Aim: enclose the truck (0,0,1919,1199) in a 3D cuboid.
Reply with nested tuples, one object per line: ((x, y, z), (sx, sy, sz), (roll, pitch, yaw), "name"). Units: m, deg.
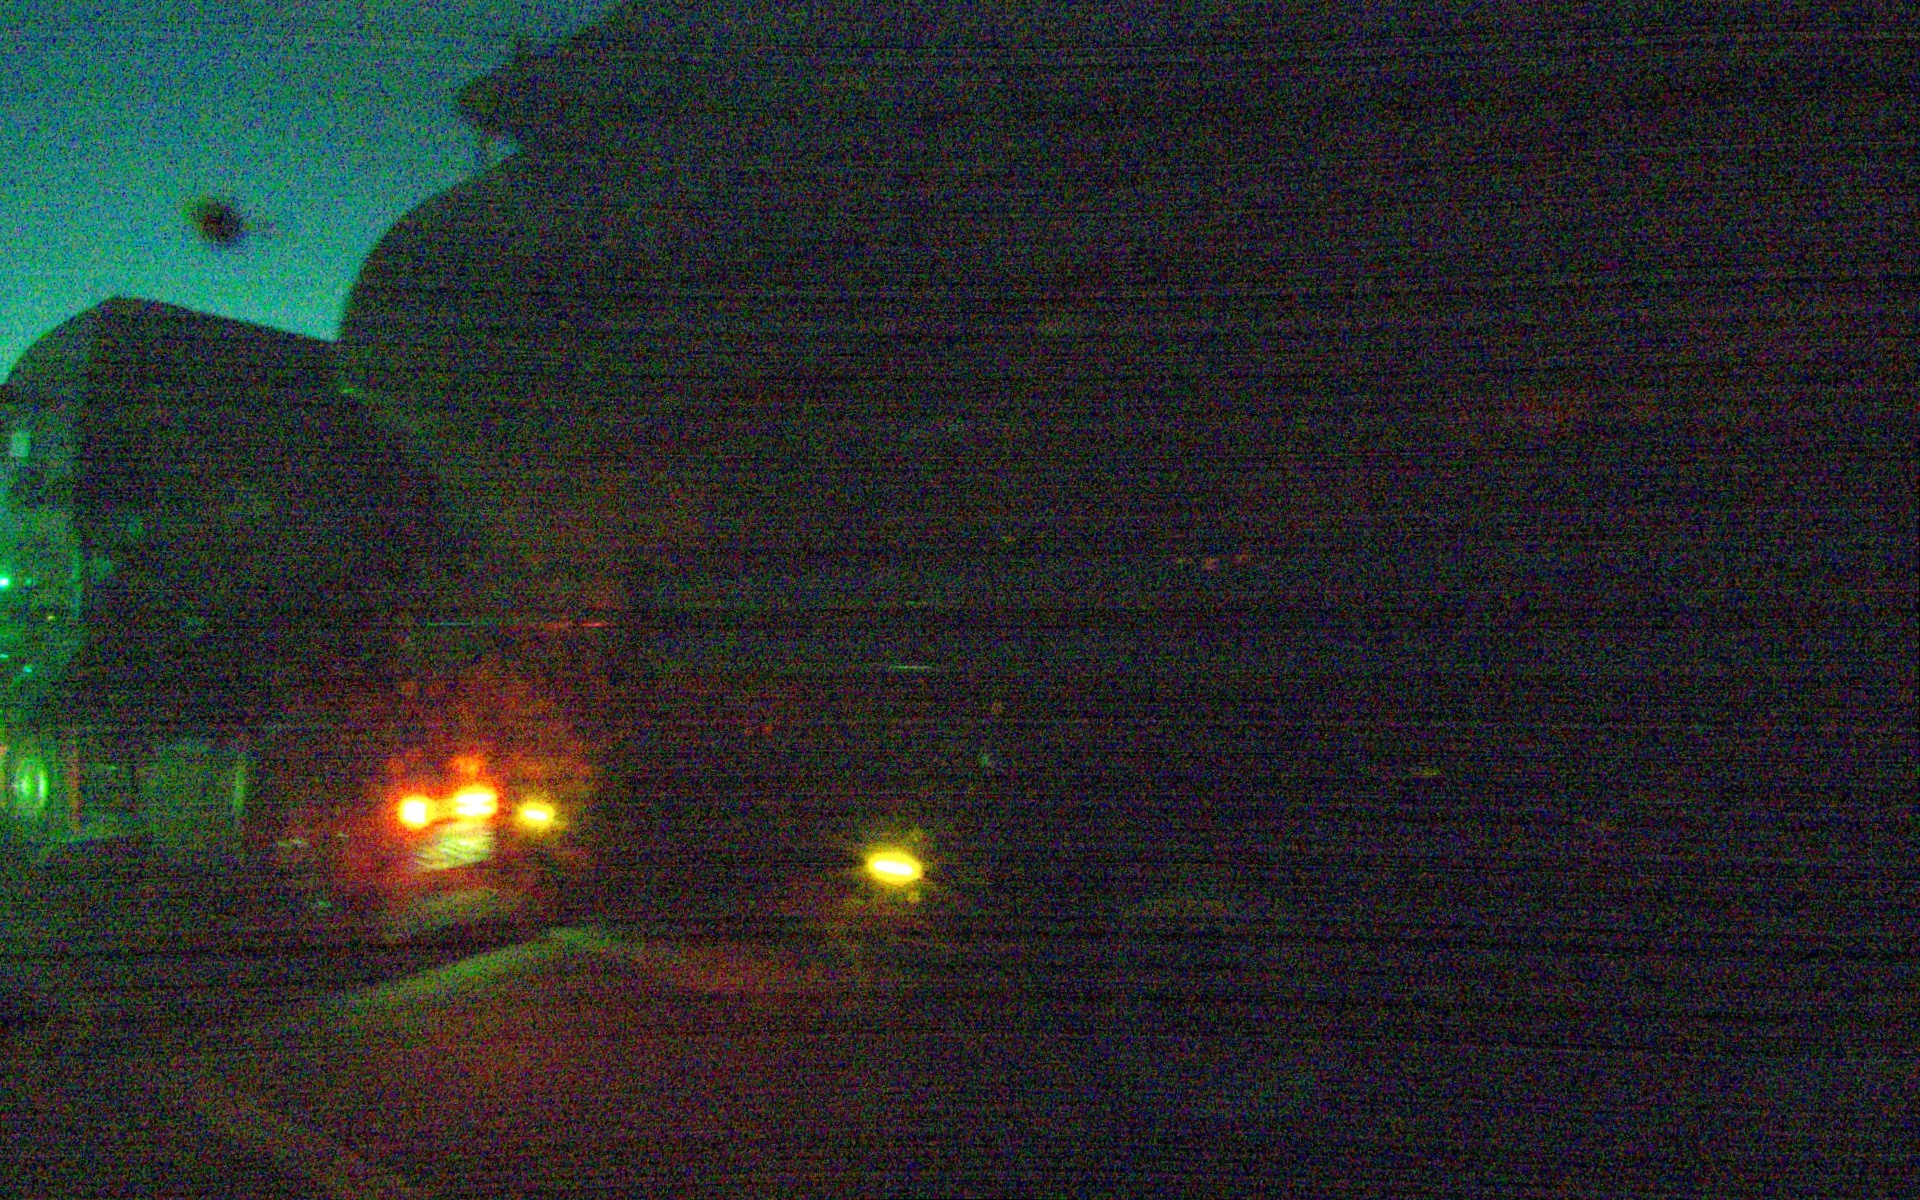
((-1.620, -0.474, 5.132), (12.954, 4.159, 2.683), (-1, -2, 33), "truck")
